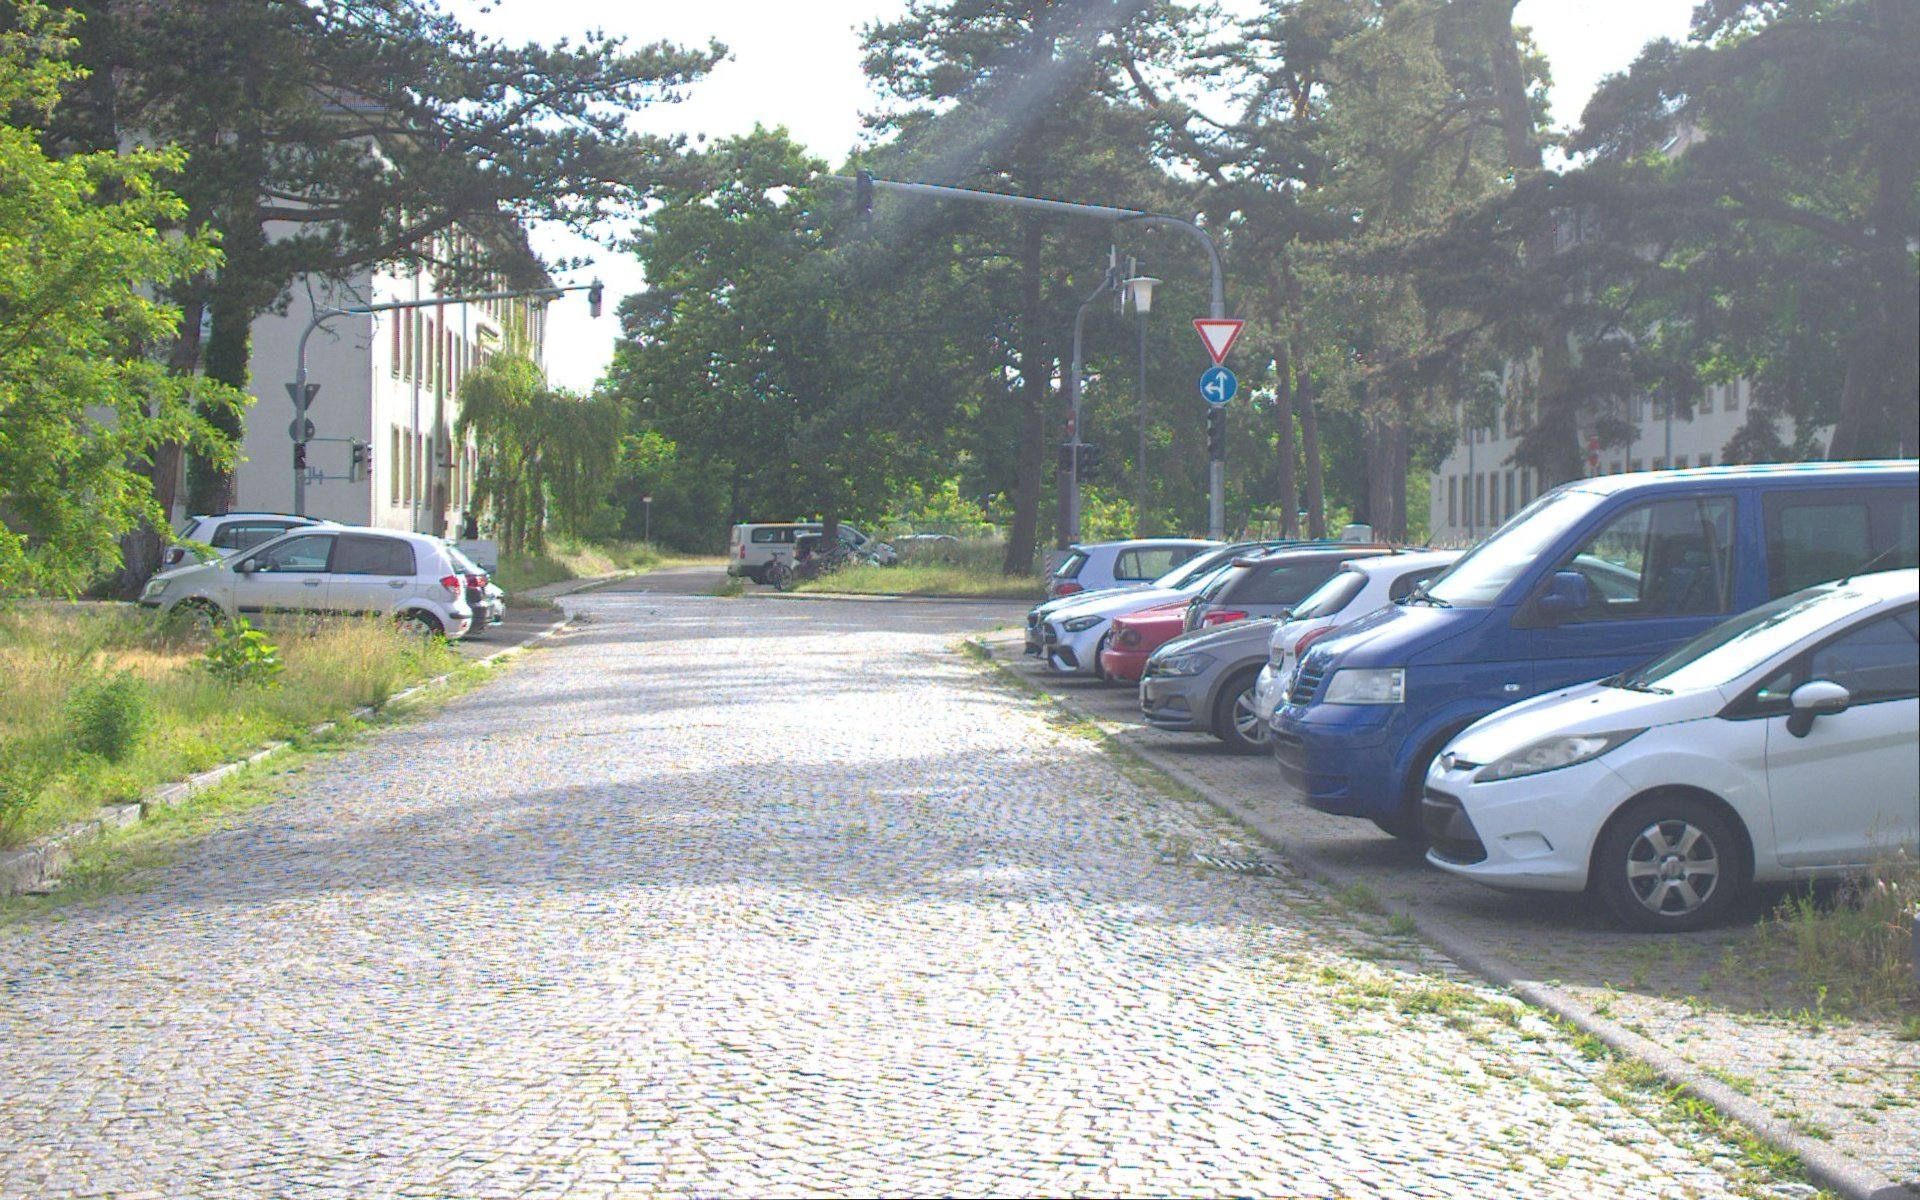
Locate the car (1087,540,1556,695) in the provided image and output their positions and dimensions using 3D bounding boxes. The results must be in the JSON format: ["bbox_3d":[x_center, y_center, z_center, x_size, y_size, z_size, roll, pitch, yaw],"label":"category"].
[{"bbox_3d":[3.482,0.158,33.606,4.340,1.468,1.740,0,1,-3],"label":"car"}]

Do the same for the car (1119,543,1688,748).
[{"bbox_3d":[3.239,0.316,25.645,3.950,1.462,1.831,0,1,-3],"label":"car"}]

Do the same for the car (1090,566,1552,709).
[{"bbox_3d":[3.224,0.319,31.214,3.950,1.256,1.727,0,1,-3],"label":"car"}]

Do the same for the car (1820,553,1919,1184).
[{"bbox_3d":[4.509,0.671,8.609,4.190,1.583,1.878,0,1,-4],"label":"car"}]

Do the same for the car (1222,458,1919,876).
[{"bbox_3d":[3.841,0.285,17.451,4.732,1.922,1.992,-1,1,-4],"label":"car"}]

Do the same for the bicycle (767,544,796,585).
[{"bbox_3d":[-4.602,-0.924,88.442,0.728,0.995,1.799,0,2,-3],"label":"bicycle"}]

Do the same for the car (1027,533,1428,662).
[{"bbox_3d":[3.170,-0.043,41.273,4.543,1.500,1.933,0,1,-5],"label":"car"}]

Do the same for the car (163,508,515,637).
[{"bbox_3d":[-8.555,-0.389,47.705,4.586,1.450,1.904,3,2,-5],"label":"car"}]

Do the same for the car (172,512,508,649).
[{"bbox_3d":[-7.619,-0.245,42.509,3.828,1.424,1.859,3,0,-4],"label":"car"}]

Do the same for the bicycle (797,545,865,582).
[{"bbox_3d":[-3.497,-0.992,93.113,1.792,0.995,0.644,0,2,-4],"label":"bicycle"}]

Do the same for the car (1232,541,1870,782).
[{"bbox_3d":[3.844,0.378,22.814,3.874,1.525,1.808,0,1,-3],"label":"car"}]

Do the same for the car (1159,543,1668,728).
[{"bbox_3d":[3.713,0.275,28.595,3.950,1.490,1.772,0,1,-3],"label":"car"}]

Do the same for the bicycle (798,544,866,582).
[{"bbox_3d":[-3.437,-0.982,92.094,1.792,0.995,0.644,0,2,-4],"label":"bicycle"}]

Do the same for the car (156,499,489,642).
[{"bbox_3d":[-8.320,-0.385,45.170,4.120,1.594,1.859,3,0,-8],"label":"car"}]

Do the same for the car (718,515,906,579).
[{"bbox_3d":[-4.652,-1.670,107.983,5.499,1.909,2.255,1,0,-17],"label":"car"}]

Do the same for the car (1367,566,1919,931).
[{"bbox_3d":[4.036,0.585,14.950,4.189,1.465,1.808,0,1,-7],"label":"car"}]

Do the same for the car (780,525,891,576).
[{"bbox_3d":[-3.781,-1.495,104.457,3.031,1.460,1.720,1,0,-16],"label":"car"}]

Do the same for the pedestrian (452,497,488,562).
[{"bbox_3d":[-14.811,-2.133,103.885,0.985,1.956,0.933,1,0,-4],"label":"pedestrian"}]

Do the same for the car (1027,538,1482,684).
[{"bbox_3d":[3.015,0.101,35.855,4.506,1.468,1.850,0,1,-3],"label":"car"}]

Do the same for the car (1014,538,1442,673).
[{"bbox_3d":[2.968,0.048,38.635,4.505,1.468,1.896,0,1,-7],"label":"car"}]

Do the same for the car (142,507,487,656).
[{"bbox_3d":[-7.430,-0.214,39.859,3.682,1.468,1.850,3,0,-5],"label":"car"}]
